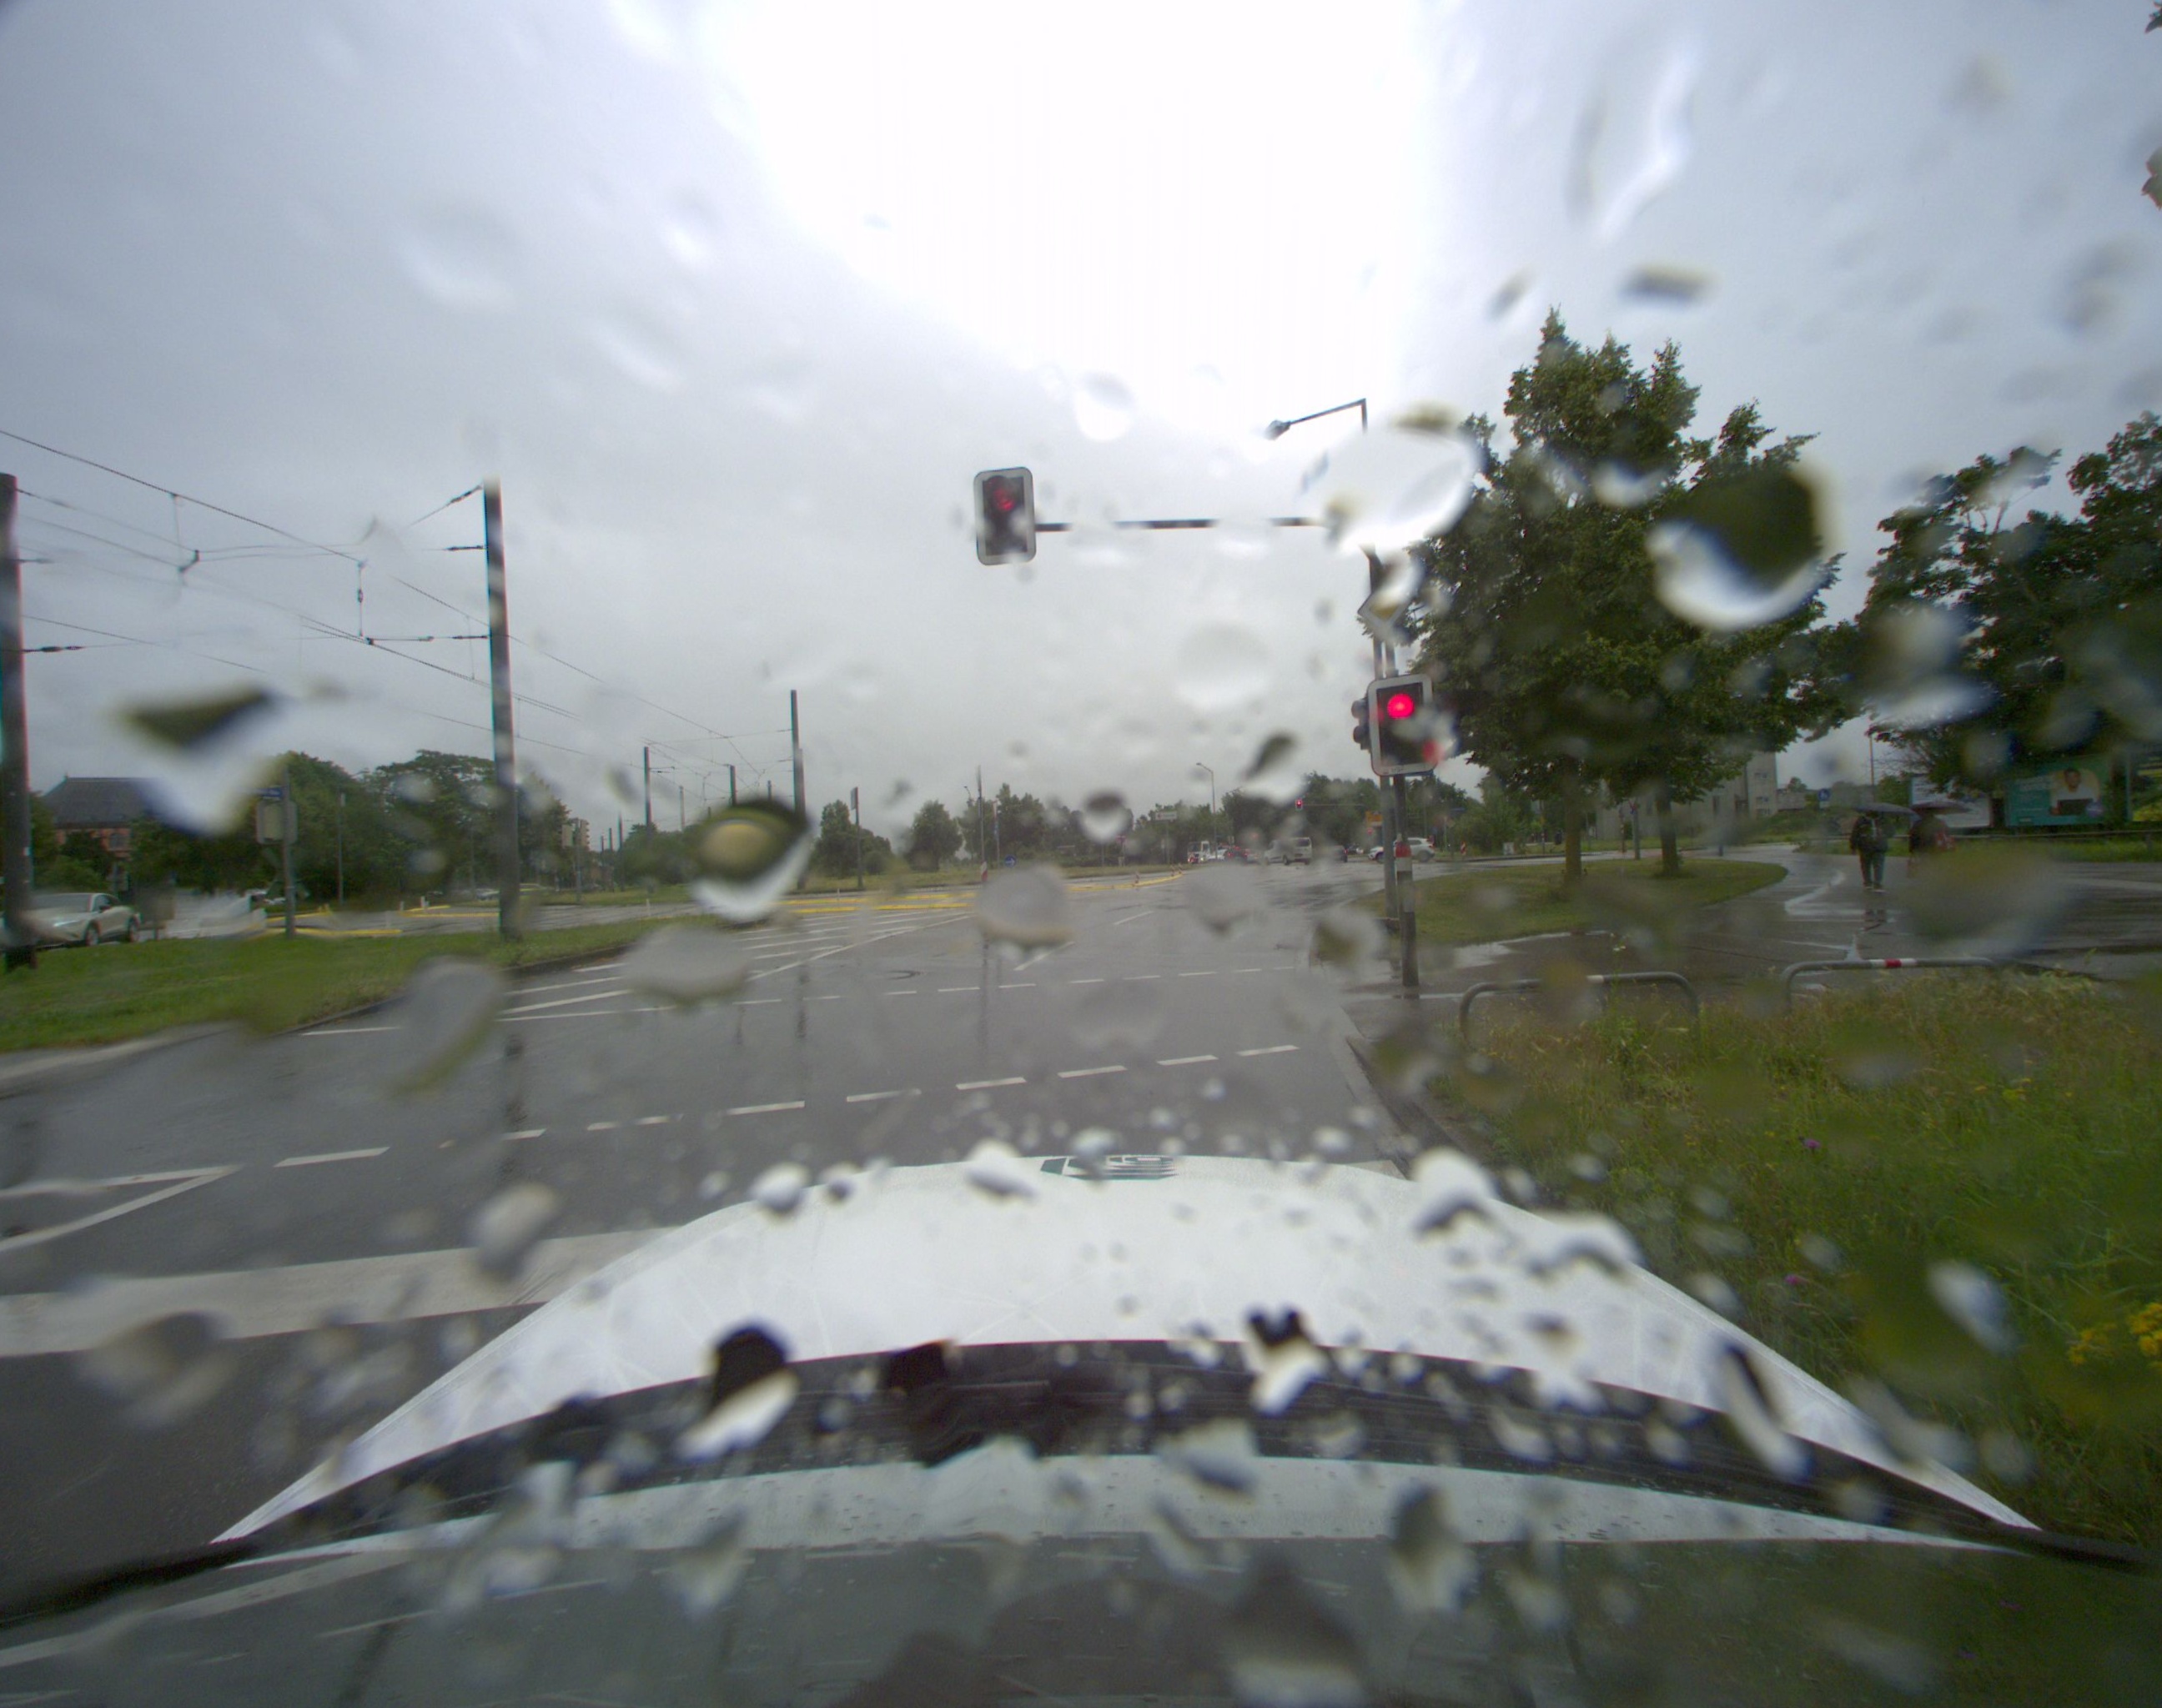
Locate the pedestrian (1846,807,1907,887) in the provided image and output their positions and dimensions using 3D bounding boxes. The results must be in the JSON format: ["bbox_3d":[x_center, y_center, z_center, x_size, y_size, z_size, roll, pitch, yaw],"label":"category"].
[{"bbox_3d":[15.463,-0.132,15.840,0.625,1.522,0.733,0,-1,-36],"label":"pedestrian"}]

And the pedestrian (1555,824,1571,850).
[{"bbox_3d":[35.369,-1.265,59.759,0.811,1.868,0.670,0,-1,9],"label":"pedestrian"}]

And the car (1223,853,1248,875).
[{"bbox_3d":[13.562,0.889,71.245,1.980,1.851,4.791,-1,-1,12],"label":"car"}]

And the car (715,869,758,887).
[{"bbox_3d":[-36.688,2.510,86.778,1.660,1.816,4.025,-1,-1,31],"label":"car"}]

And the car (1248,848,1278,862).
[{"bbox_3d":[21.848,0.167,97.628,1.779,1.662,4.024,-1,-1,43],"label":"car"}]

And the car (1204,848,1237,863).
[{"bbox_3d":[16.447,0.165,95.948,1.779,1.662,4.159,-1,-1,43],"label":"car"}]

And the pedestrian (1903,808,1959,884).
[{"bbox_3d":[16.812,-0.161,16.110,0.685,1.461,0.567,-3,-2,-34],"label":"pedestrian"}]

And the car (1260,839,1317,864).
[{"bbox_3d":[15.681,-0.159,61.831,1.998,1.851,4.748,0,-1,-17],"label":"car"}]

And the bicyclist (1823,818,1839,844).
[{"bbox_3d":[51.200,-1.567,55.581,0.585,1.742,0.498,-1,-1,13],"label":"bicyclist"}]

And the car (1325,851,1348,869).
[{"bbox_3d":[22.163,0.484,70.765,1.606,1.454,4.003,-2,0,14],"label":"car"}]

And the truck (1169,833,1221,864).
[{"bbox_3d":[10.454,-0.410,74.002,2.439,2.686,8.105,-1,-1,25],"label":"truck"}]

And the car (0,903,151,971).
[{"bbox_3d":[-26.762,2.133,21.598,1.629,1.454,4.070,-2,0,-33],"label":"car"}]

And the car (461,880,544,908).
[{"bbox_3d":[-44.631,3.040,62.895,1.974,1.851,4.807,-3,0,37],"label":"car"}]

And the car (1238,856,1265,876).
[{"bbox_3d":[16.151,1.134,76.923,1.978,1.851,4.797,-1,-1,17],"label":"car"}]

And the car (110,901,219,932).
[{"bbox_3d":[-53.166,3.575,47.298,1.602,1.454,4.013,-3,0,34],"label":"car"}]

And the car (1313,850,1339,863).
[{"bbox_3d":[33.757,0.356,112.047,1.779,1.662,4.024,-1,-1,43],"label":"car"}]

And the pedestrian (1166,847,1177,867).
[{"bbox_3d":[6.050,0.225,54.328,0.448,1.304,0.489,-3,-1,40],"label":"pedestrian"}]

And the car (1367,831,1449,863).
[{"bbox_3d":[21.179,-0.431,52.961,4.722,1.851,2.010,-3,0,18],"label":"car"}]
